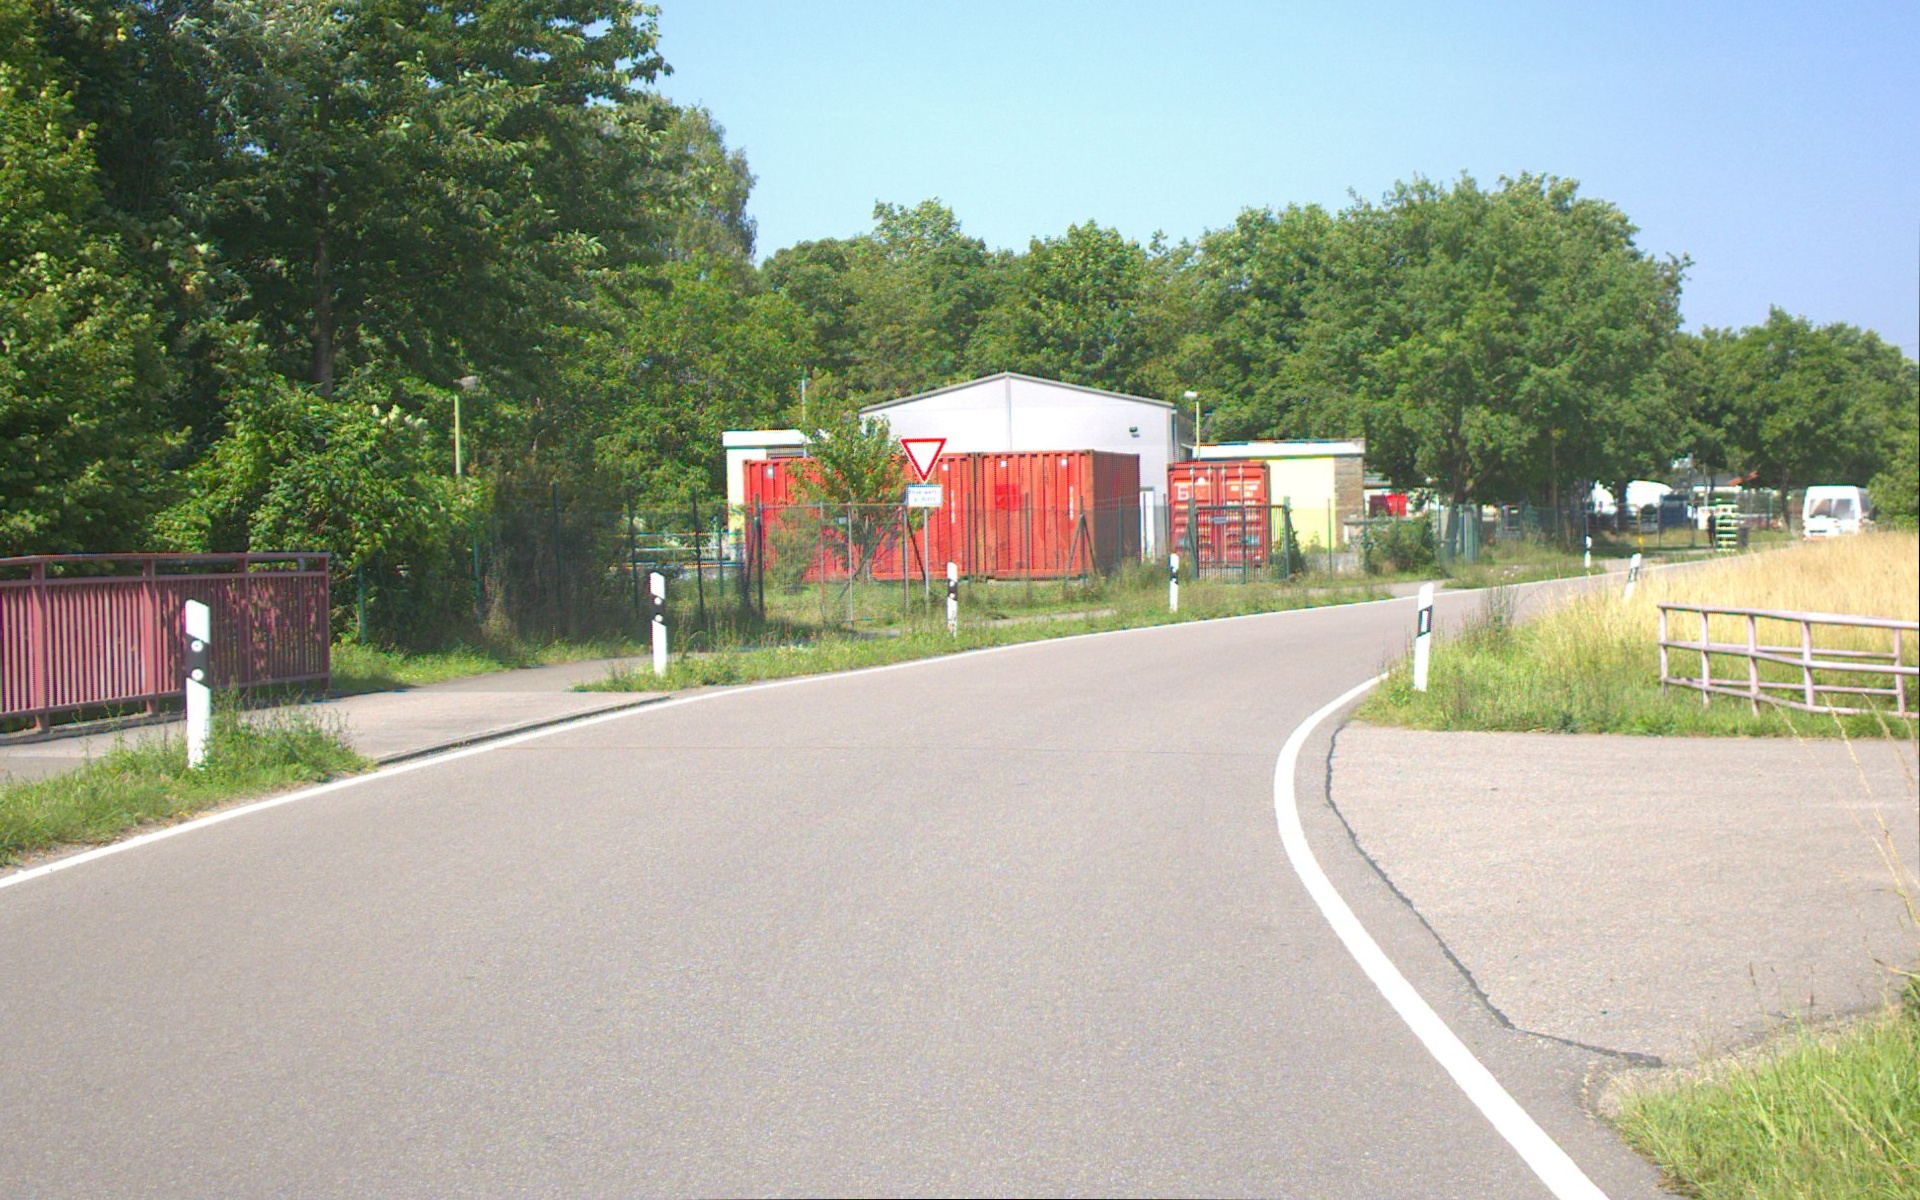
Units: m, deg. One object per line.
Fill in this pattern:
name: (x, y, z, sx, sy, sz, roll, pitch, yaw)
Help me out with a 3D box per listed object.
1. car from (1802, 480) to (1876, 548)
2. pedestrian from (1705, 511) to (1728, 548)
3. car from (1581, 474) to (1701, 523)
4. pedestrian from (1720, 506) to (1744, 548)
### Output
car: (30.498, -2.986, 119.152, 1.995, 2.258, 4.722, -1, 1, 20)
pedestrian: (32.705, -3.038, 148.550, 0.678, 1.560, 0.717, 0, 2, 43)
car: (33.990, -5.065, 171.623, 5.593, 2.258, 2.001, -2, 1, -19)
pedestrian: (33.462, -3.160, 149.031, 0.721, 1.796, 0.708, 0, 2, 43)
